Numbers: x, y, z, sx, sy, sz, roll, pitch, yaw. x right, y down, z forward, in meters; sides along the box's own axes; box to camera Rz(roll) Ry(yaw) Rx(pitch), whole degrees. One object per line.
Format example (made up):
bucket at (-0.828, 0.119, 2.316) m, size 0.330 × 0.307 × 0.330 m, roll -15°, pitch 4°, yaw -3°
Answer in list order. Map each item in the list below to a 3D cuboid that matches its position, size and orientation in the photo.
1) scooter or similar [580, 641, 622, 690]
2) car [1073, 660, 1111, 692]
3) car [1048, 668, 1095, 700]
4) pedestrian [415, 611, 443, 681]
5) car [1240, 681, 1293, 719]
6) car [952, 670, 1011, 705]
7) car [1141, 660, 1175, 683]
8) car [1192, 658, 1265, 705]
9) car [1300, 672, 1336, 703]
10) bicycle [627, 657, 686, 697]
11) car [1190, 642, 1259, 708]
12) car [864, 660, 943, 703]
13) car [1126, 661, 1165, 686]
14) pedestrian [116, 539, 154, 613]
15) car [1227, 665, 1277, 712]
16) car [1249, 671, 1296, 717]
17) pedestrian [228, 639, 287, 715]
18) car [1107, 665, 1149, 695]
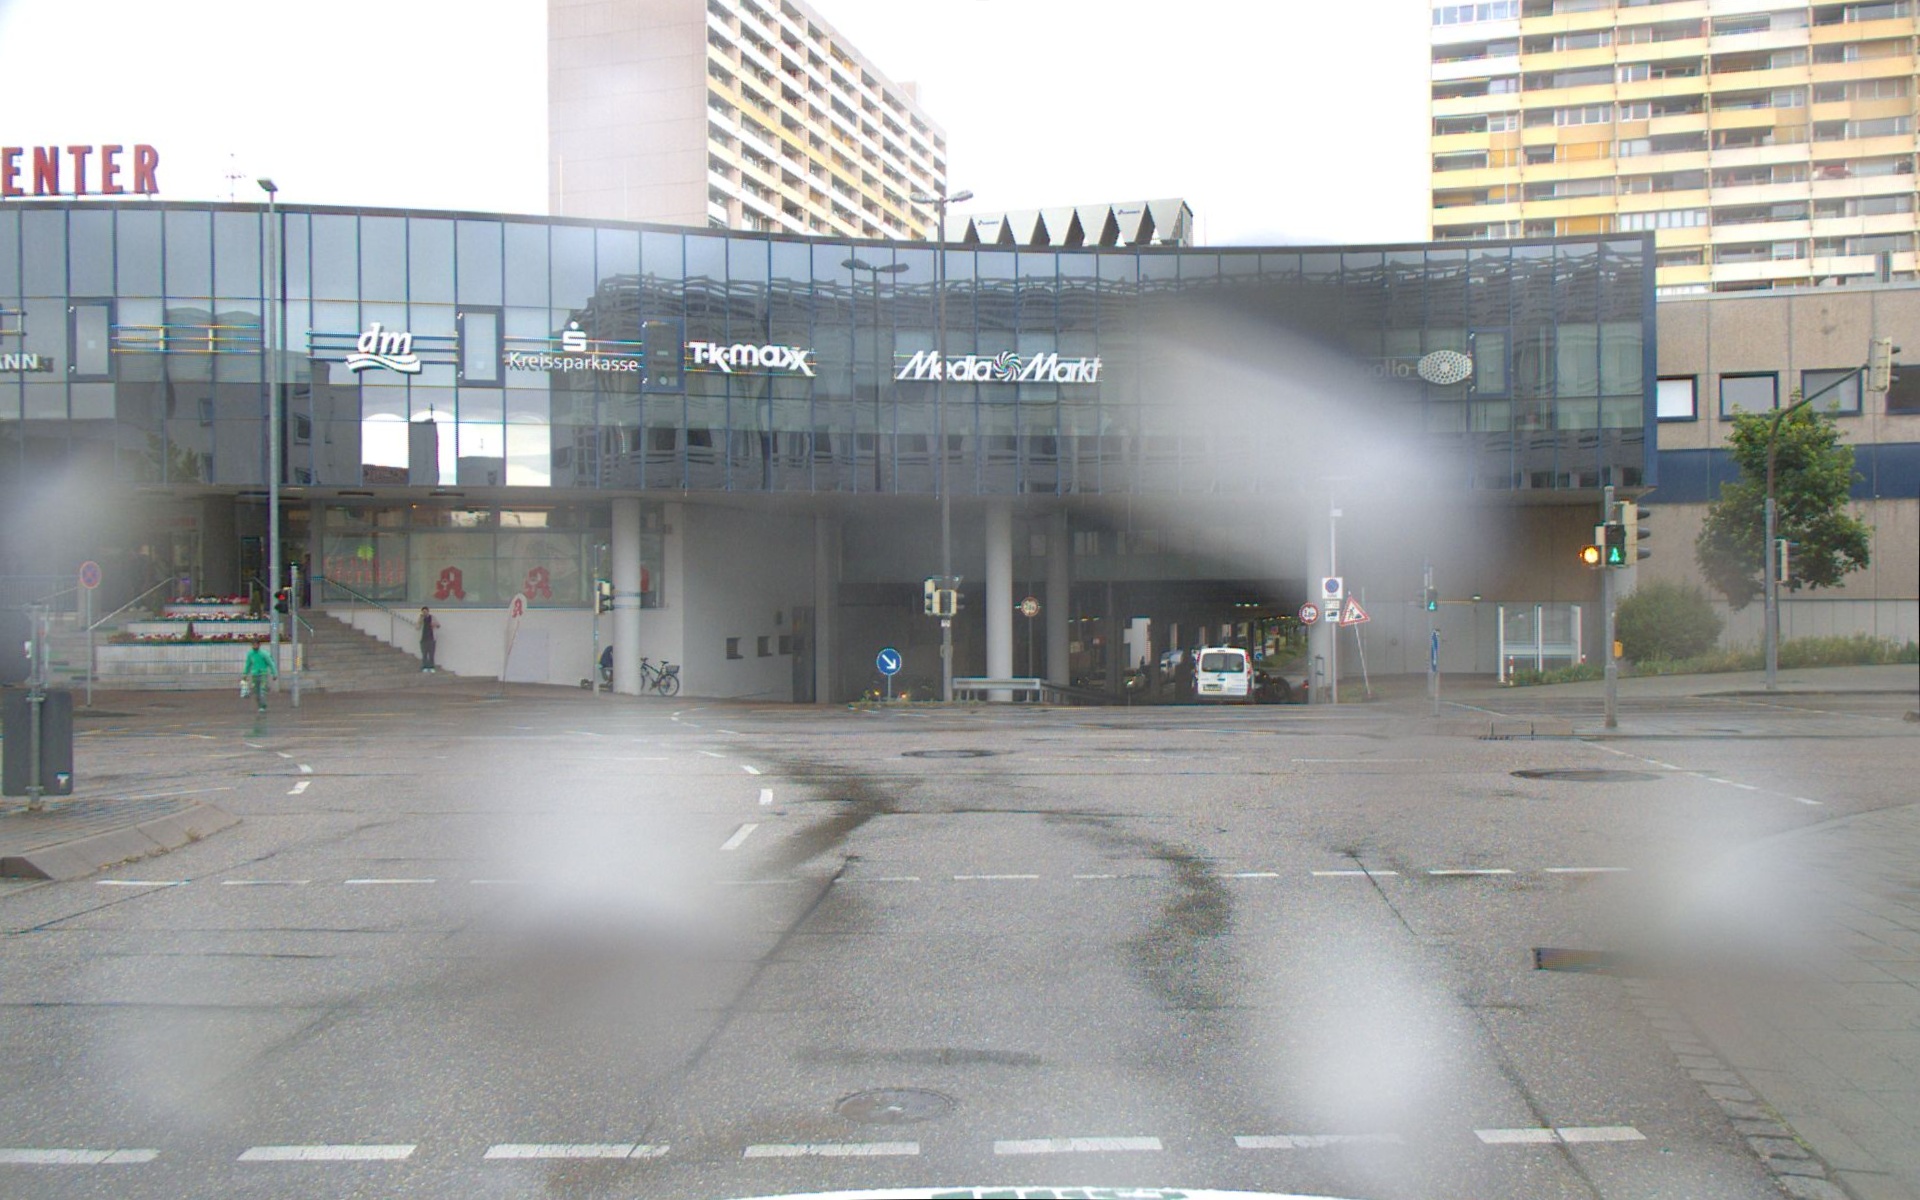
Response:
scooter or similar at (-10.431, 1.906, 48.014) m, size 1.147 × 1.397 × 0.487 m, roll 1°, pitch -1°, yaw -16°
car at (7.691, 4.418, 96.129) m, size 1.797 × 1.758 × 4.003 m, roll -1°, pitch -1°, yaw 11°
car at (6.195, 4.646, 91.303) m, size 1.874 × 1.616 × 3.941 m, roll -1°, pitch -1°, yaw 15°
pedestrian at (-14.950, 1.286, 46.548) m, size 0.643 × 1.942 × 0.593 m, roll 1°, pitch -1°, yaw -9°
car at (12.278, 4.014, 66.107) m, size 1.741 × 1.425 × 4.002 m, roll -1°, pitch -4°, yaw 15°
car at (1.001, 3.927, 74.375) m, size 1.733 × 1.490 × 3.878 m, roll -1°, pitch -3°, yaw 15°
car at (13.765, 4.945, 114.720) m, size 1.951 × 1.489 × 4.003 m, roll -1°, pitch -1°, yaw 12°
car at (9.162, 2.806, 56.261) m, size 1.721 × 1.490 × 3.943 m, roll -2°, pitch -4°, yaw 20°
car at (19.746, 4.786, 91.117) m, size 1.847 × 1.517 × 3.844 m, roll 1°, pitch -1°, yaw 13°
bicycle at (-8.899, 2.253, 48.508) m, size 1.566 × 1.035 × 0.447 m, roll 7°, pitch -4°, yaw -32°
car at (7.823, 2.188, 48.709) m, size 1.884 × 1.829 × 4.299 m, roll -1°, pitch -2°, yaw 10°
car at (-2.082, 3.102, 62.437) m, size 1.852 × 1.496 × 4.029 m, roll -1°, pitch -5°, yaw 16°
car at (12.315, 4.866, 109.616) m, size 1.951 × 1.489 × 4.003 m, roll -1°, pitch -1°, yaw 15°
pedestrian at (-23.295, -0.677, 46.719) m, size 0.818 × 2.049 × 0.946 m, roll 1°, pitch -1°, yaw -22°
car at (10.834, 3.256, 61.151) m, size 1.598 × 1.640 × 4.265 m, roll -2°, pitch -3°, yaw 12°
car at (13.419, 3.992, 70.884) m, size 1.753 × 1.802 × 4.003 m, roll -1°, pitch -1°, yaw 14°
pedestrian at (-15.669, 1.711, 36.914) m, size 0.929 × 1.652 × 0.809 m, roll -1°, pitch -1°, yaw 5°
car at (10.357, 4.922, 101.949) m, size 1.951 × 1.693 × 4.003 m, roll 1°, pitch -1°, yaw 15°
